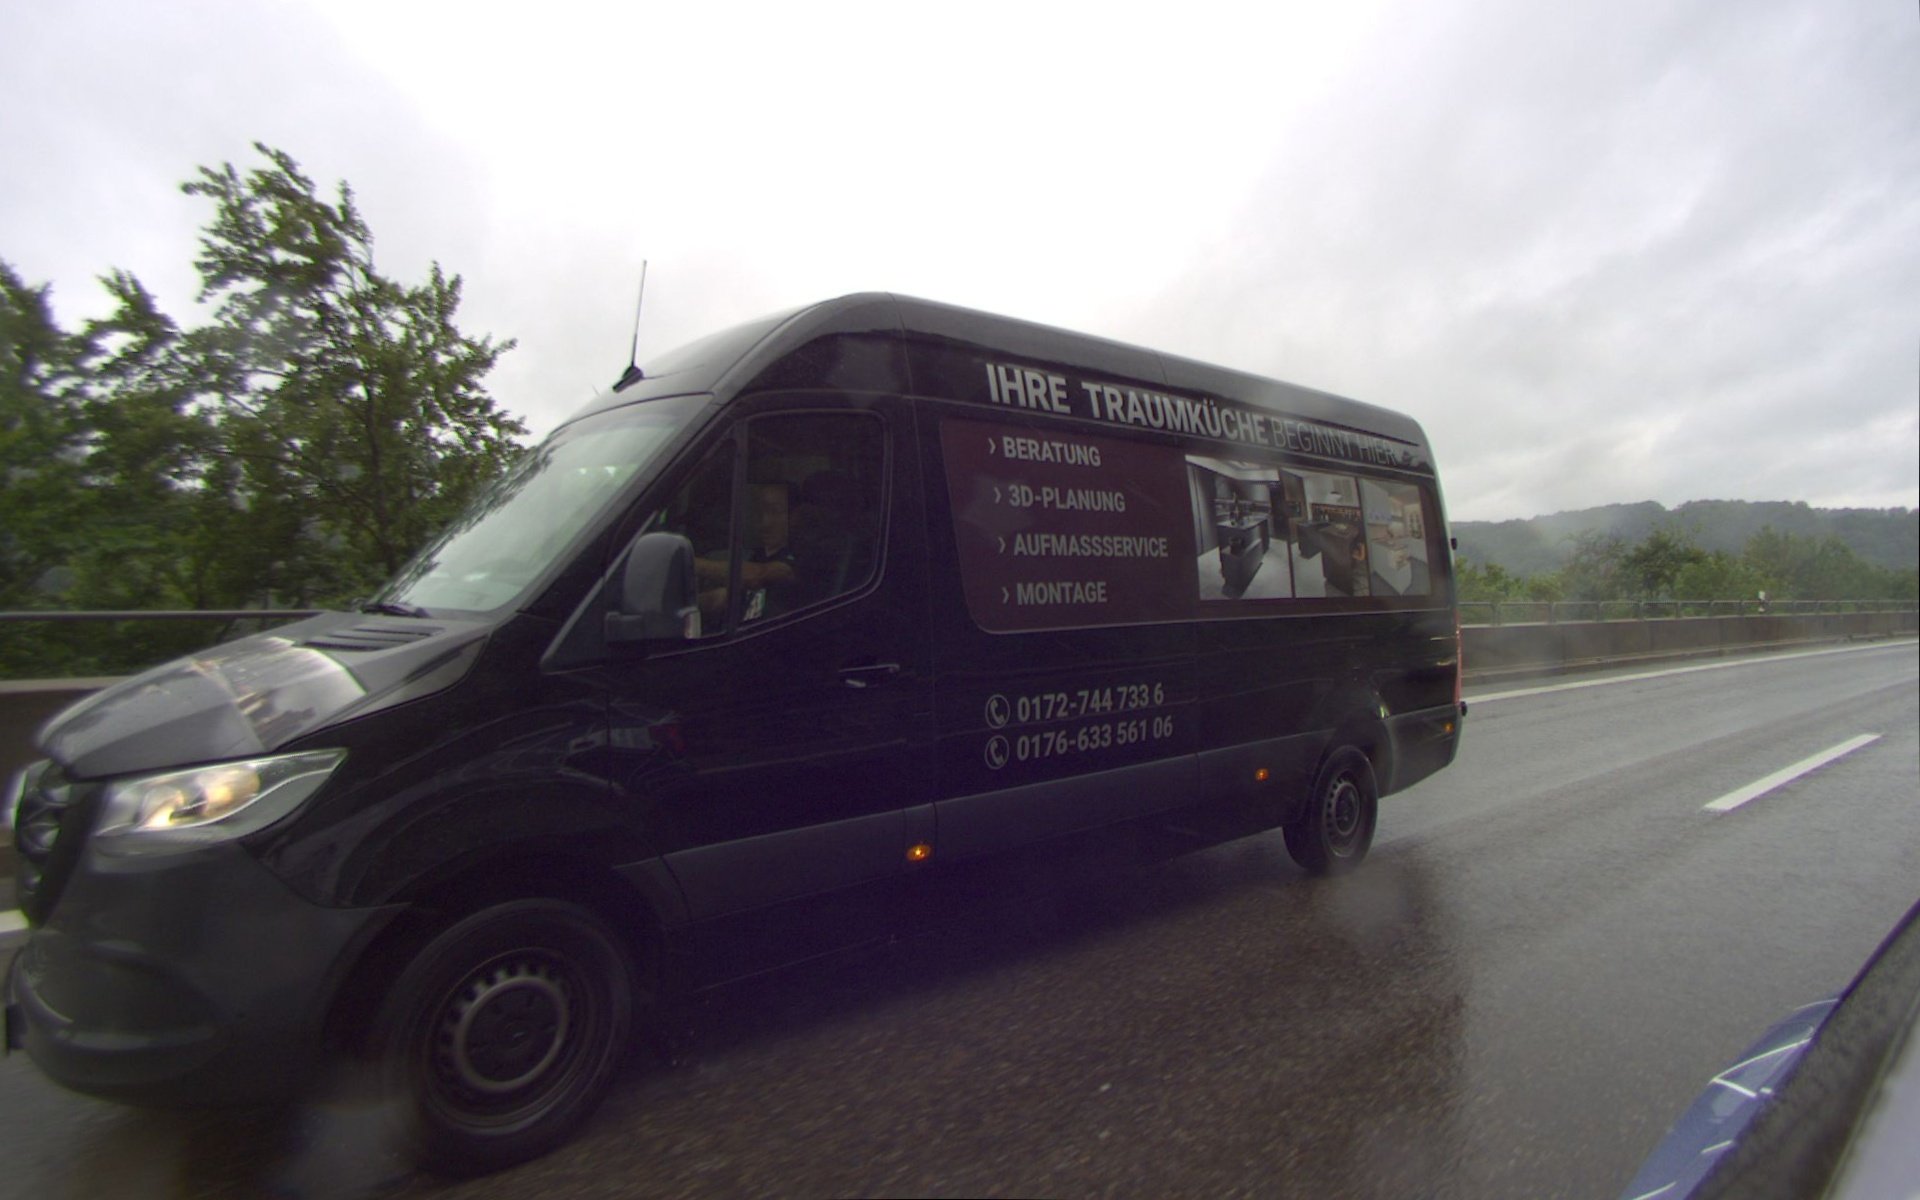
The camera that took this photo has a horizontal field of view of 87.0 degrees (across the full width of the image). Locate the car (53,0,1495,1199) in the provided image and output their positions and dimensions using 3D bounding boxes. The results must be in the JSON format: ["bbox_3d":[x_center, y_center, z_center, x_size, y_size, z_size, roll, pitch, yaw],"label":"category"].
[{"bbox_3d":[0.141,0.080,4.831,6.587,2.525,1.997,0,1,-41],"label":"car"}]
